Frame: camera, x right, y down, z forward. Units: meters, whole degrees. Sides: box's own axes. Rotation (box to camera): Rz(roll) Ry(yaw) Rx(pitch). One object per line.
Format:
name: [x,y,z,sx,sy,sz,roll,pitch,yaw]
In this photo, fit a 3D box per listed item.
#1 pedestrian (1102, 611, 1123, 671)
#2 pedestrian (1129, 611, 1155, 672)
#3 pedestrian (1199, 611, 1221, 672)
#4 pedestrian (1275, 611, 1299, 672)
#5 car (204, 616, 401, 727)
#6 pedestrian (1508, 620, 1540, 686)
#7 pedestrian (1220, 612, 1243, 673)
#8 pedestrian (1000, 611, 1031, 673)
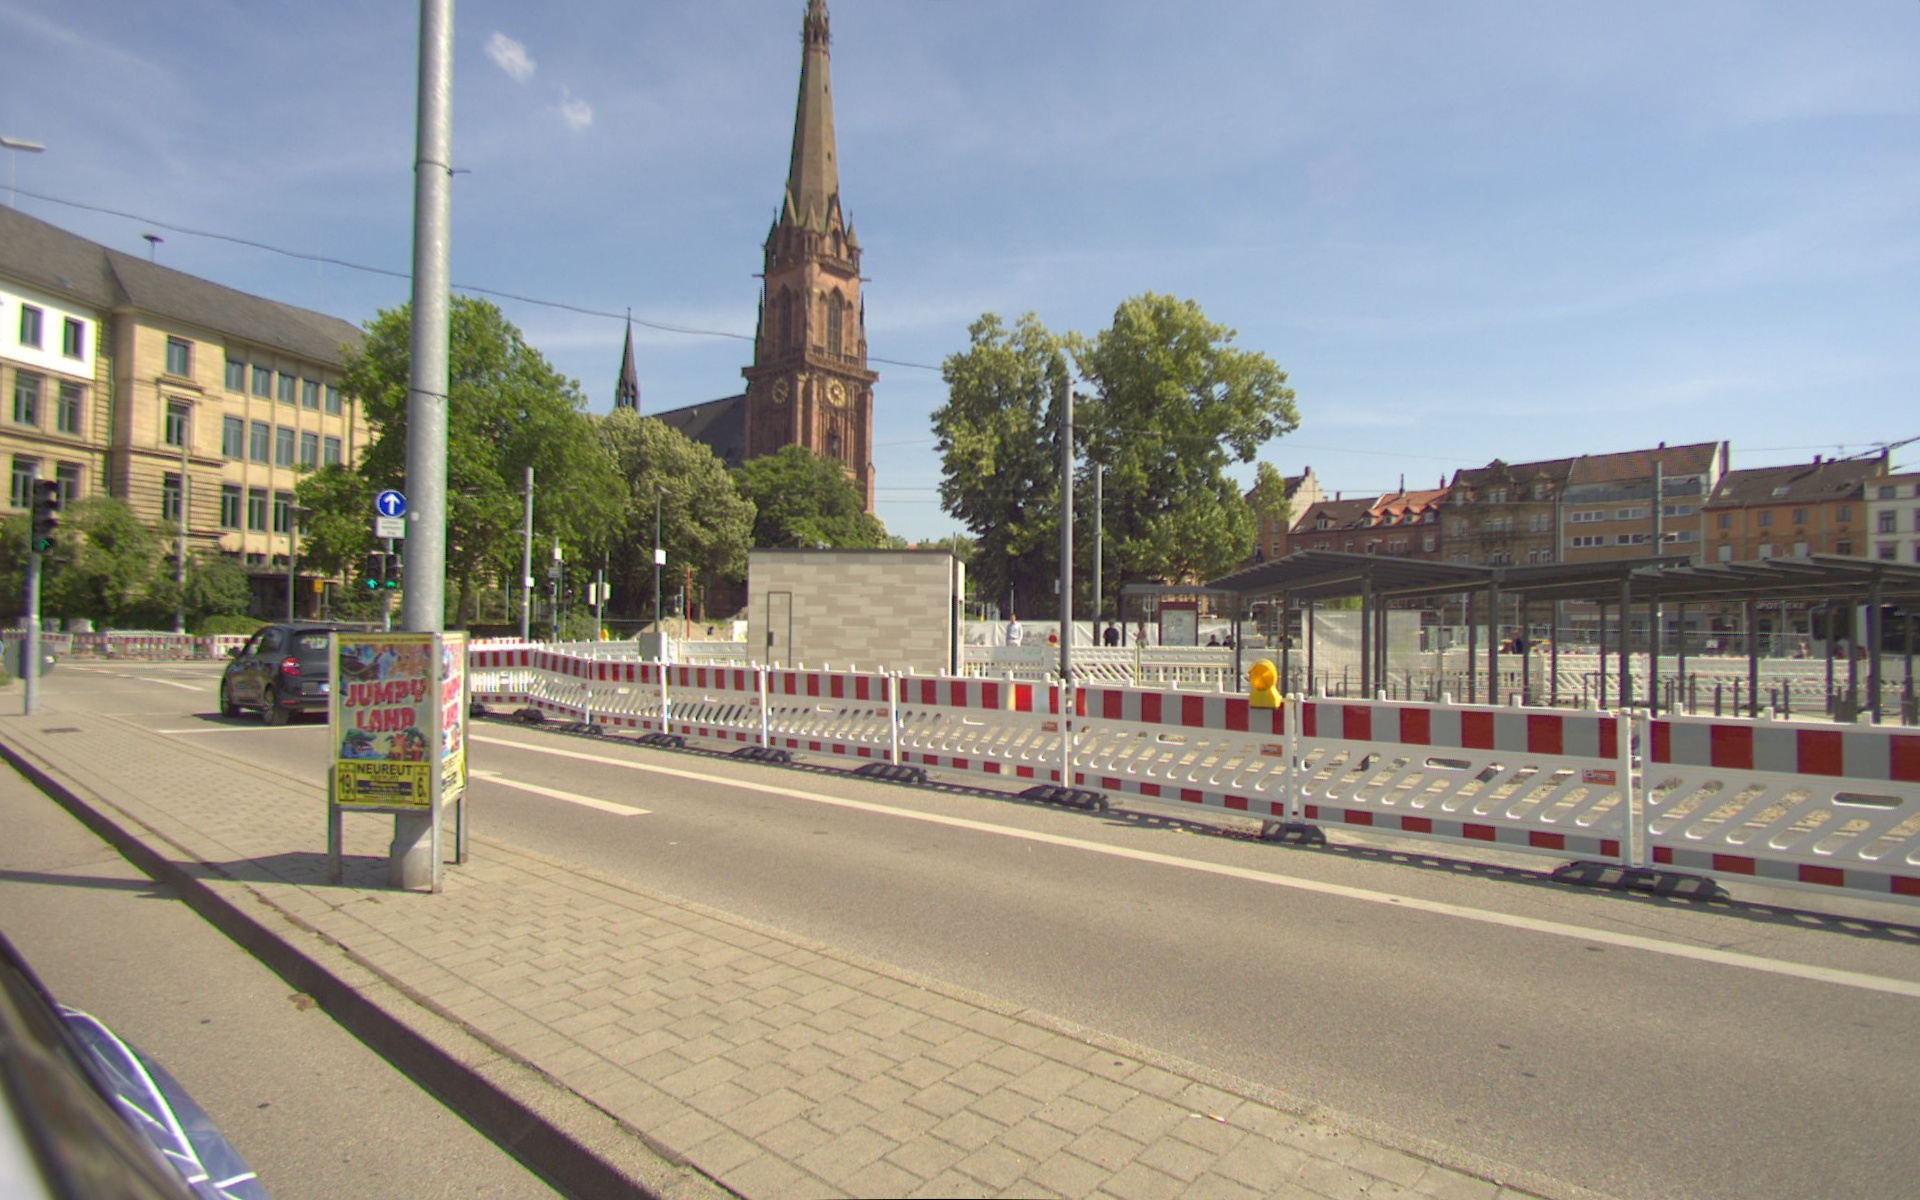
pedestrian: [5.243,1.398,34.784,0.678,2.029,0.819,0,-2,7]
pedestrian: [6.217,1.412,34.548,0.810,2.029,0.685,1,-2,6]
pedestrian: [8.404,1.393,34.021,0.679,2.029,0.818,0,-2,11]
pedestrian: [11.132,1.402,34.456,0.679,2.029,0.818,0,-2,11]
car: [-10.595,1.082,16.232,3.630,1.586,1.644,-1,-3,41]
pedestrian: [17.610,1.643,31.638,0.680,2.029,0.816,0,-2,16]
pedestrian: [9.085,1.417,33.905,0.679,2.029,0.818,0,-2,11]
pedestrian: [1.879,1.415,34.126,0.686,2.029,0.809,-1,-3,43]
